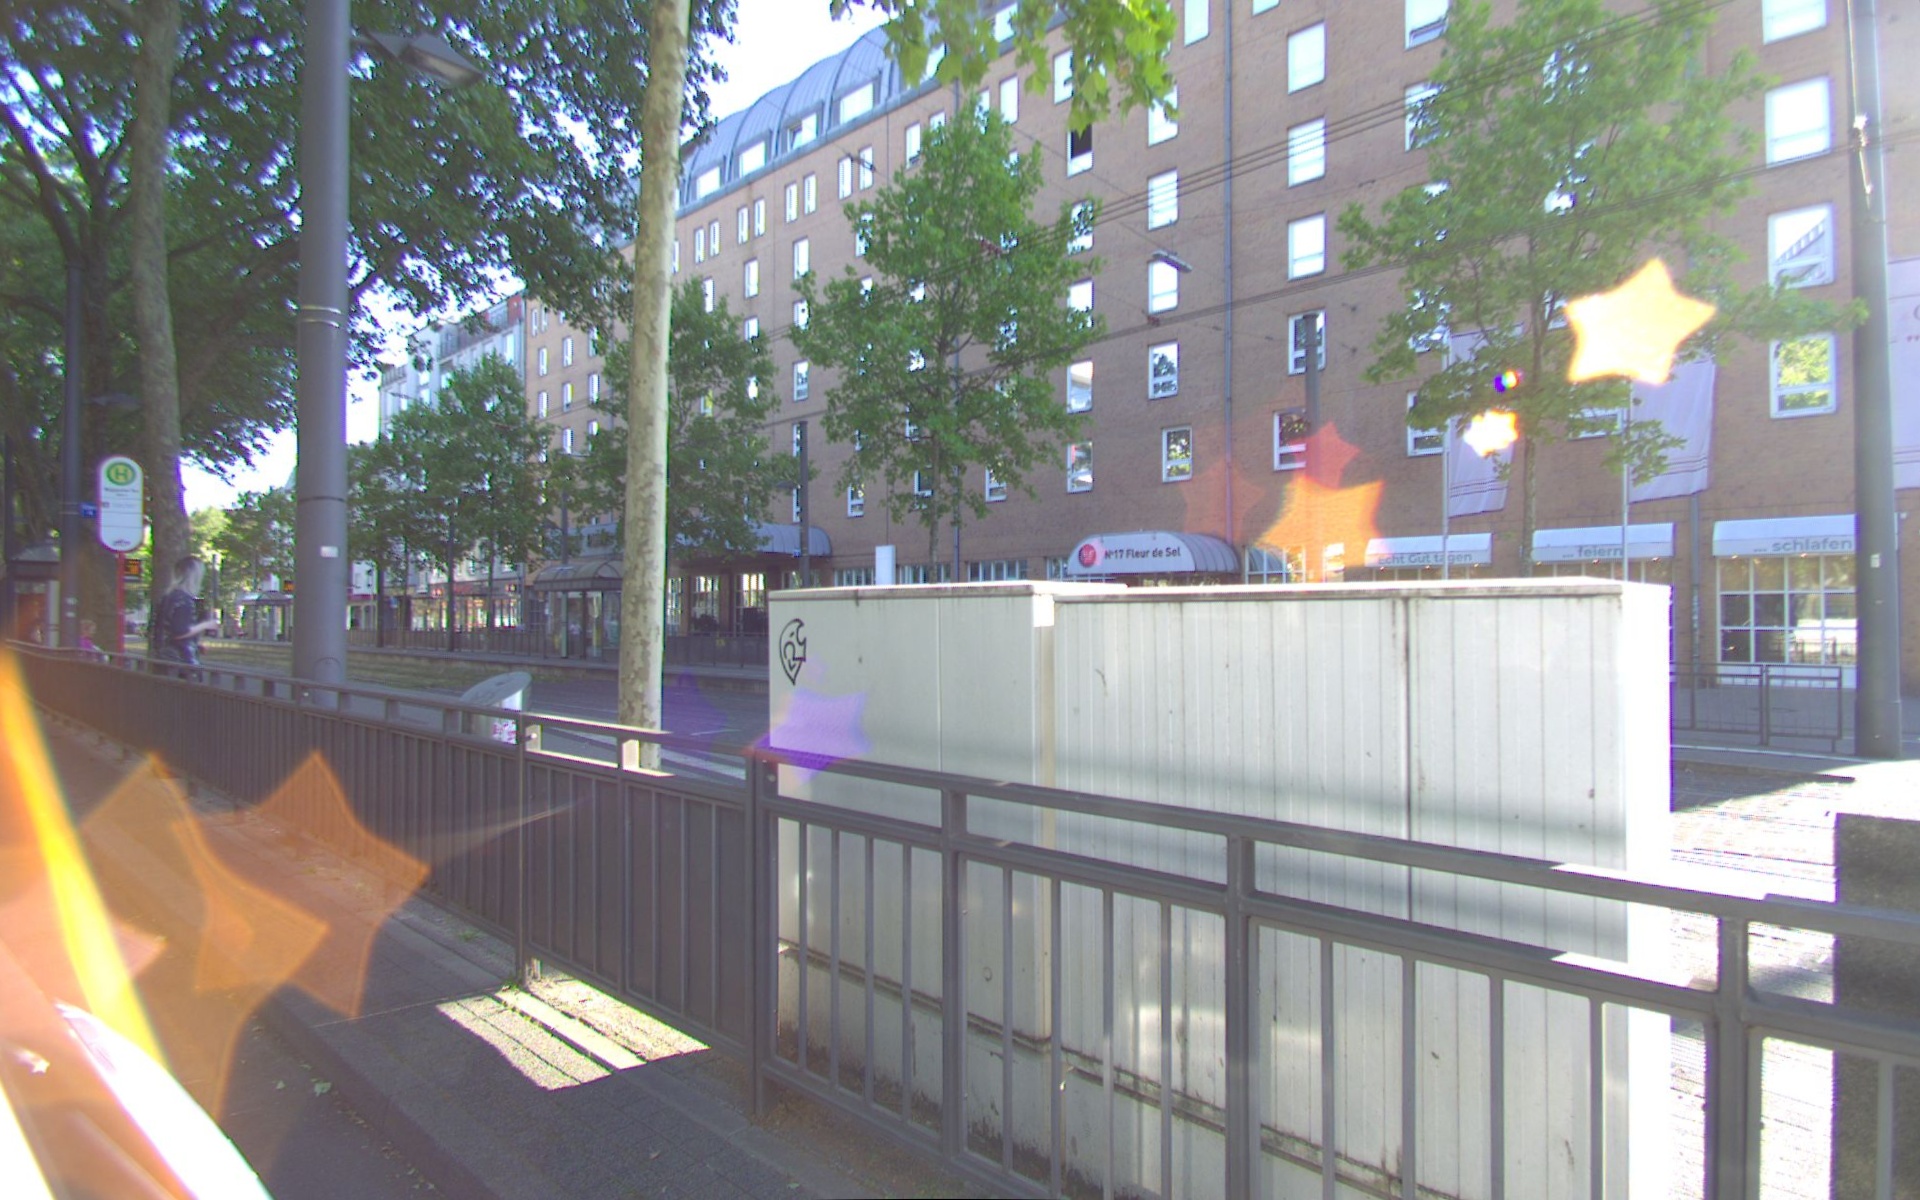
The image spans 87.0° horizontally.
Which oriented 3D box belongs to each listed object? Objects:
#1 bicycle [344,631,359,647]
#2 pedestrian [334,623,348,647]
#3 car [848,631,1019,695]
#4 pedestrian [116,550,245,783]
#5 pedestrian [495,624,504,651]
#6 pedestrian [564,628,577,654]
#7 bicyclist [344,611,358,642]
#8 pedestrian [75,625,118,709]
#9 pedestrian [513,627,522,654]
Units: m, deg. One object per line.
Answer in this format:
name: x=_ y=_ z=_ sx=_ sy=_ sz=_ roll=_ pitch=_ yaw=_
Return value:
bicycle: x=-38.471 y=2.441 z=64.004 sx=0.444 sy=1.012 sz=1.754 roll=2 pitch=-2 yaw=-44
pedestrian: x=-52.199 y=2.978 z=85.399 sx=0.763 sy=2.029 sz=0.796 roll=-2 pitch=-2 yaw=41
car: x=-0.732 y=1.551 z=25.959 sx=4.304 sy=1.500 sz=1.738 roll=-1 pitch=-2 yaw=39
pedestrian: x=-6.646 y=0.541 z=8.649 sx=0.600 sy=1.897 sz=0.621 roll=1 pitch=0 yaw=12
pedestrian: x=-26.373 y=2.141 z=57.974 sx=0.431 sy=1.518 sz=0.660 roll=1 pitch=-2 yaw=-27
pedestrian: x=-22.228 y=2.343 z=57.784 sx=0.516 sy=1.447 sz=0.512 roll=-2 pitch=-2 yaw=44
bicyclist: x=-38.455 y=1.671 z=63.917 sx=0.564 sy=1.918 sz=0.814 roll=2 pitch=-2 yaw=-43
pedestrian: x=-13.952 y=1.065 z=16.350 sx=0.493 sy=1.325 sz=0.419 roll=1 pitch=-2 yaw=-41
pedestrian: x=-25.554 y=2.318 z=58.402 sx=0.431 sy=1.532 sz=0.660 roll=1 pitch=-2 yaw=-27
